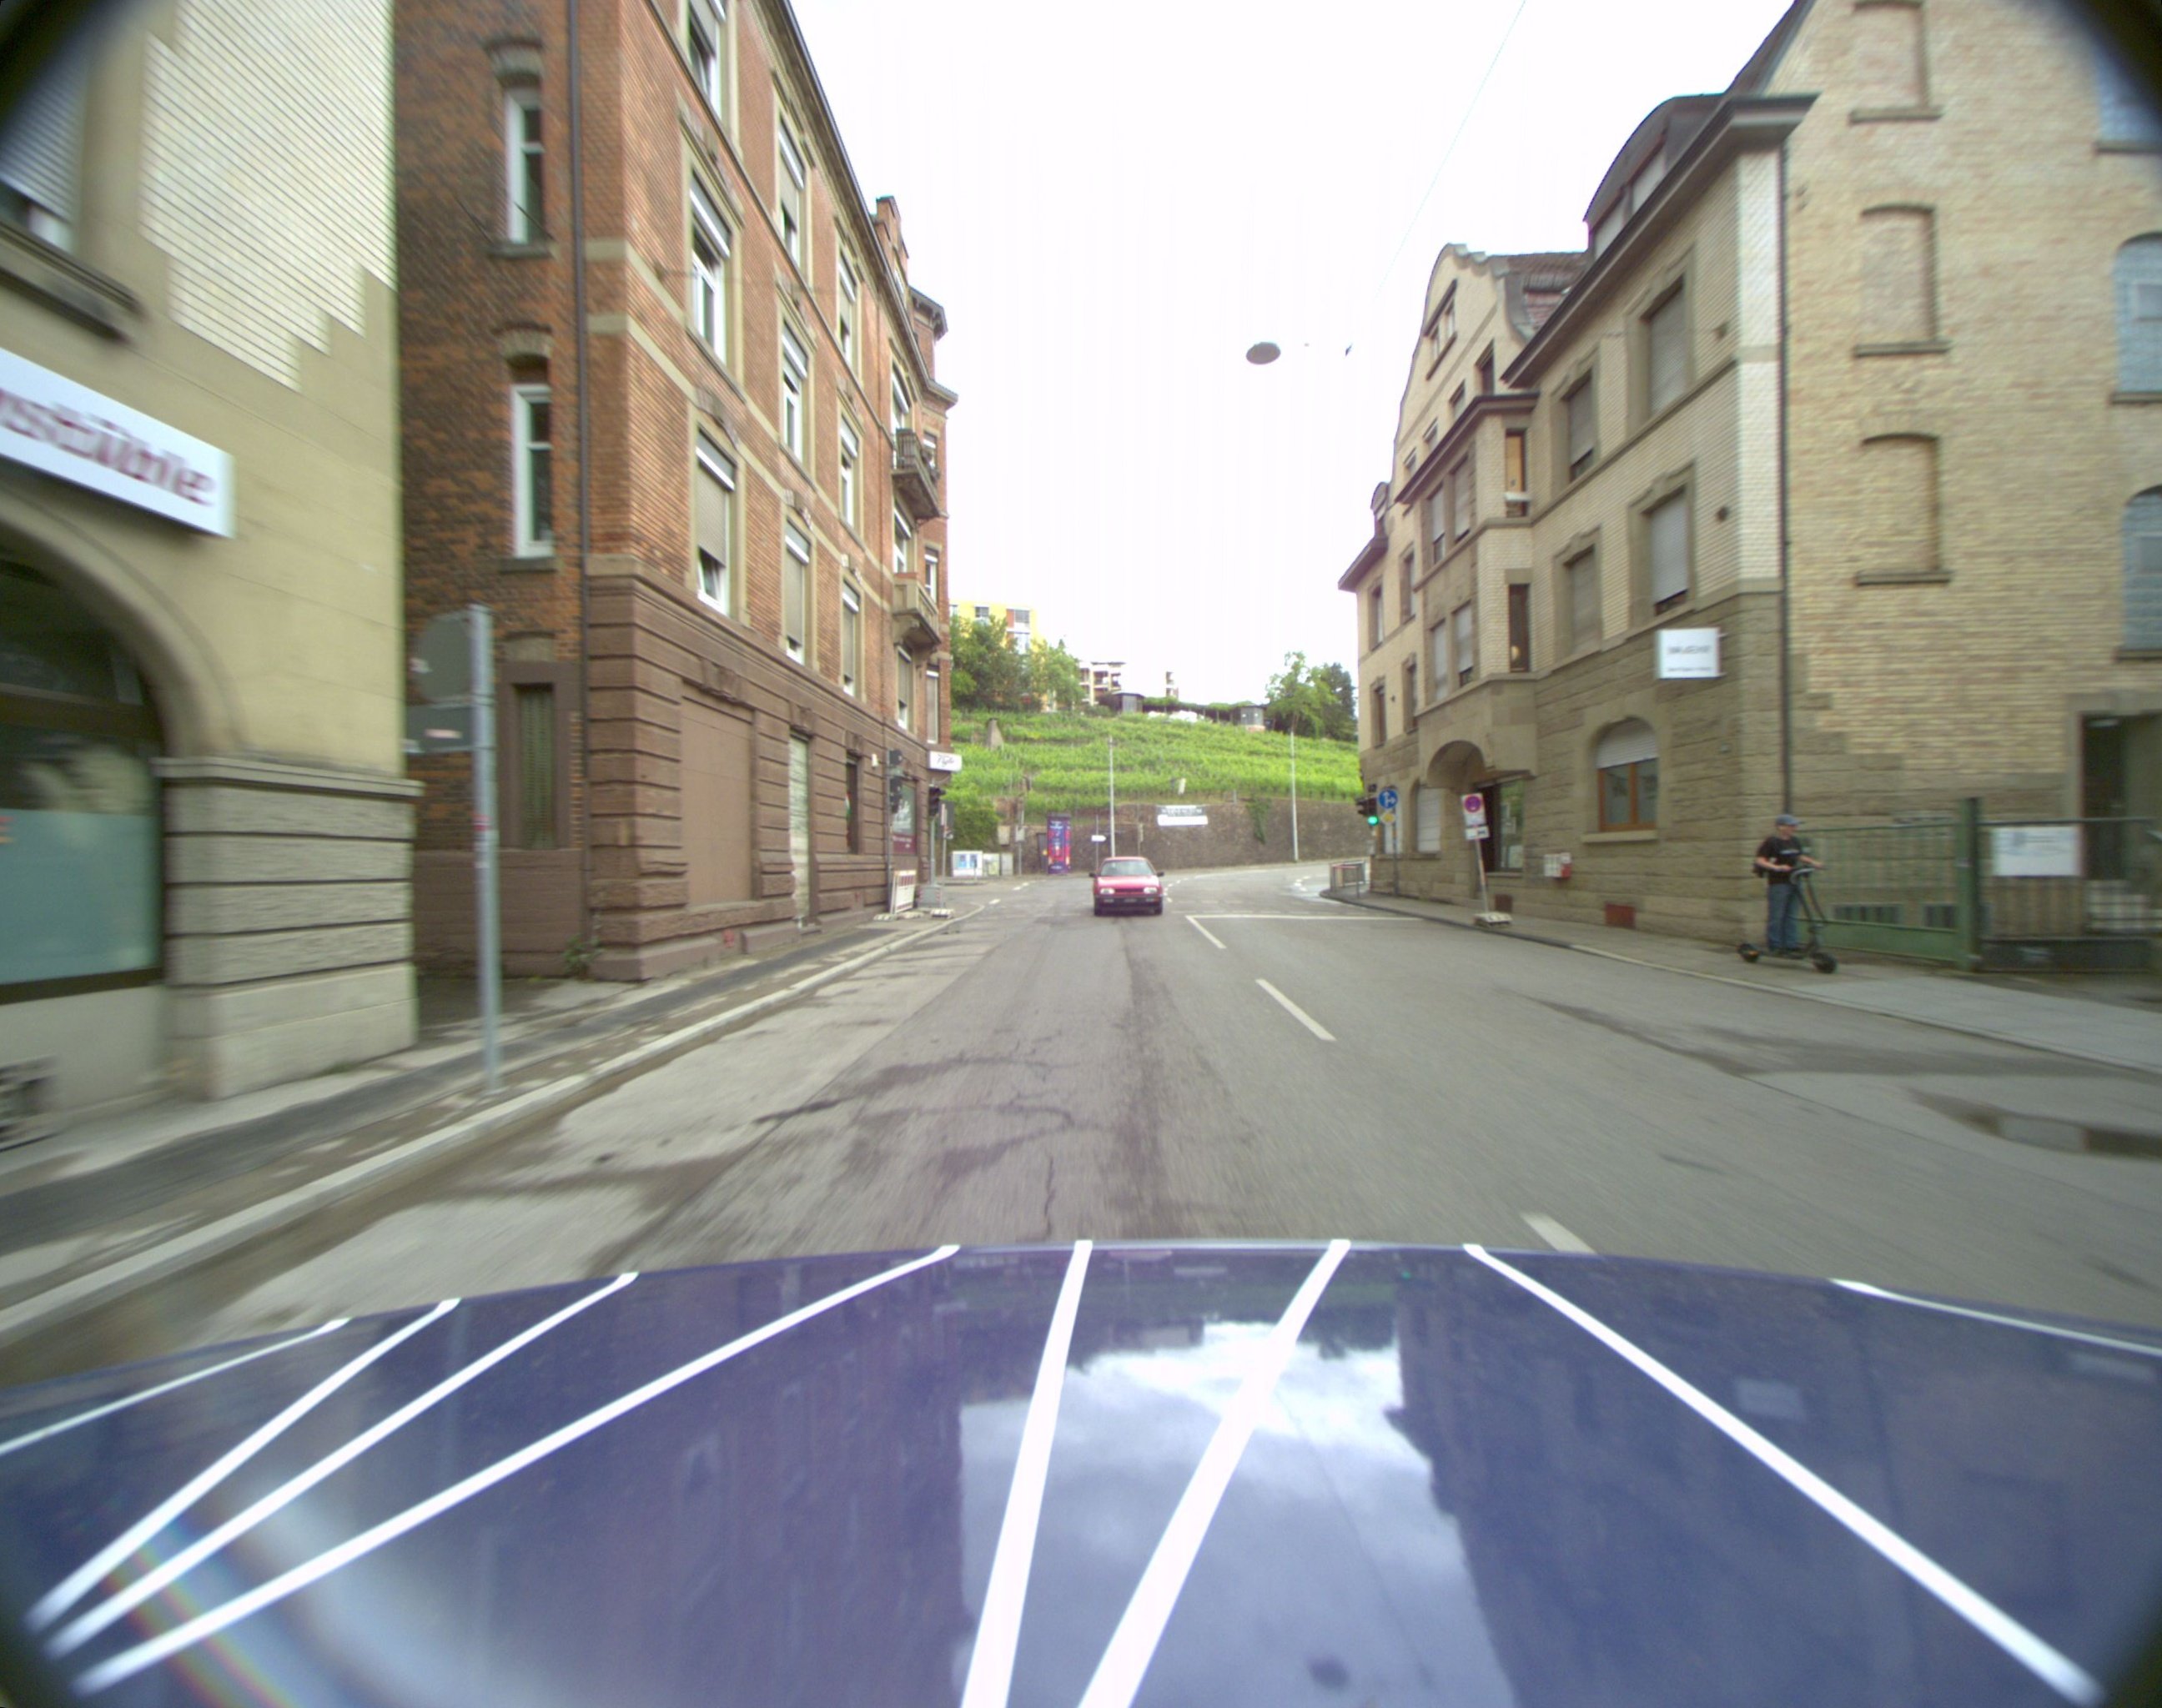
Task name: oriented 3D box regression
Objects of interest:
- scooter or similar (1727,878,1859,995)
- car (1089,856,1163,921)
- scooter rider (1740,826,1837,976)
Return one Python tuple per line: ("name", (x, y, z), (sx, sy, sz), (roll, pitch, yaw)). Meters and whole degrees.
("scooter or similar", (8.418, 0.938, 9.044), (0.379, 1.234, 1.227), (-5, 0, 3))
("car", (1.201, 0.795, 19.537), (1.645, 1.430, 4.001), (-2, 0, 5))
("scooter rider", (8.380, 0.539, 9.021), (0.488, 1.695, 0.577), (-6, 1, 3))
